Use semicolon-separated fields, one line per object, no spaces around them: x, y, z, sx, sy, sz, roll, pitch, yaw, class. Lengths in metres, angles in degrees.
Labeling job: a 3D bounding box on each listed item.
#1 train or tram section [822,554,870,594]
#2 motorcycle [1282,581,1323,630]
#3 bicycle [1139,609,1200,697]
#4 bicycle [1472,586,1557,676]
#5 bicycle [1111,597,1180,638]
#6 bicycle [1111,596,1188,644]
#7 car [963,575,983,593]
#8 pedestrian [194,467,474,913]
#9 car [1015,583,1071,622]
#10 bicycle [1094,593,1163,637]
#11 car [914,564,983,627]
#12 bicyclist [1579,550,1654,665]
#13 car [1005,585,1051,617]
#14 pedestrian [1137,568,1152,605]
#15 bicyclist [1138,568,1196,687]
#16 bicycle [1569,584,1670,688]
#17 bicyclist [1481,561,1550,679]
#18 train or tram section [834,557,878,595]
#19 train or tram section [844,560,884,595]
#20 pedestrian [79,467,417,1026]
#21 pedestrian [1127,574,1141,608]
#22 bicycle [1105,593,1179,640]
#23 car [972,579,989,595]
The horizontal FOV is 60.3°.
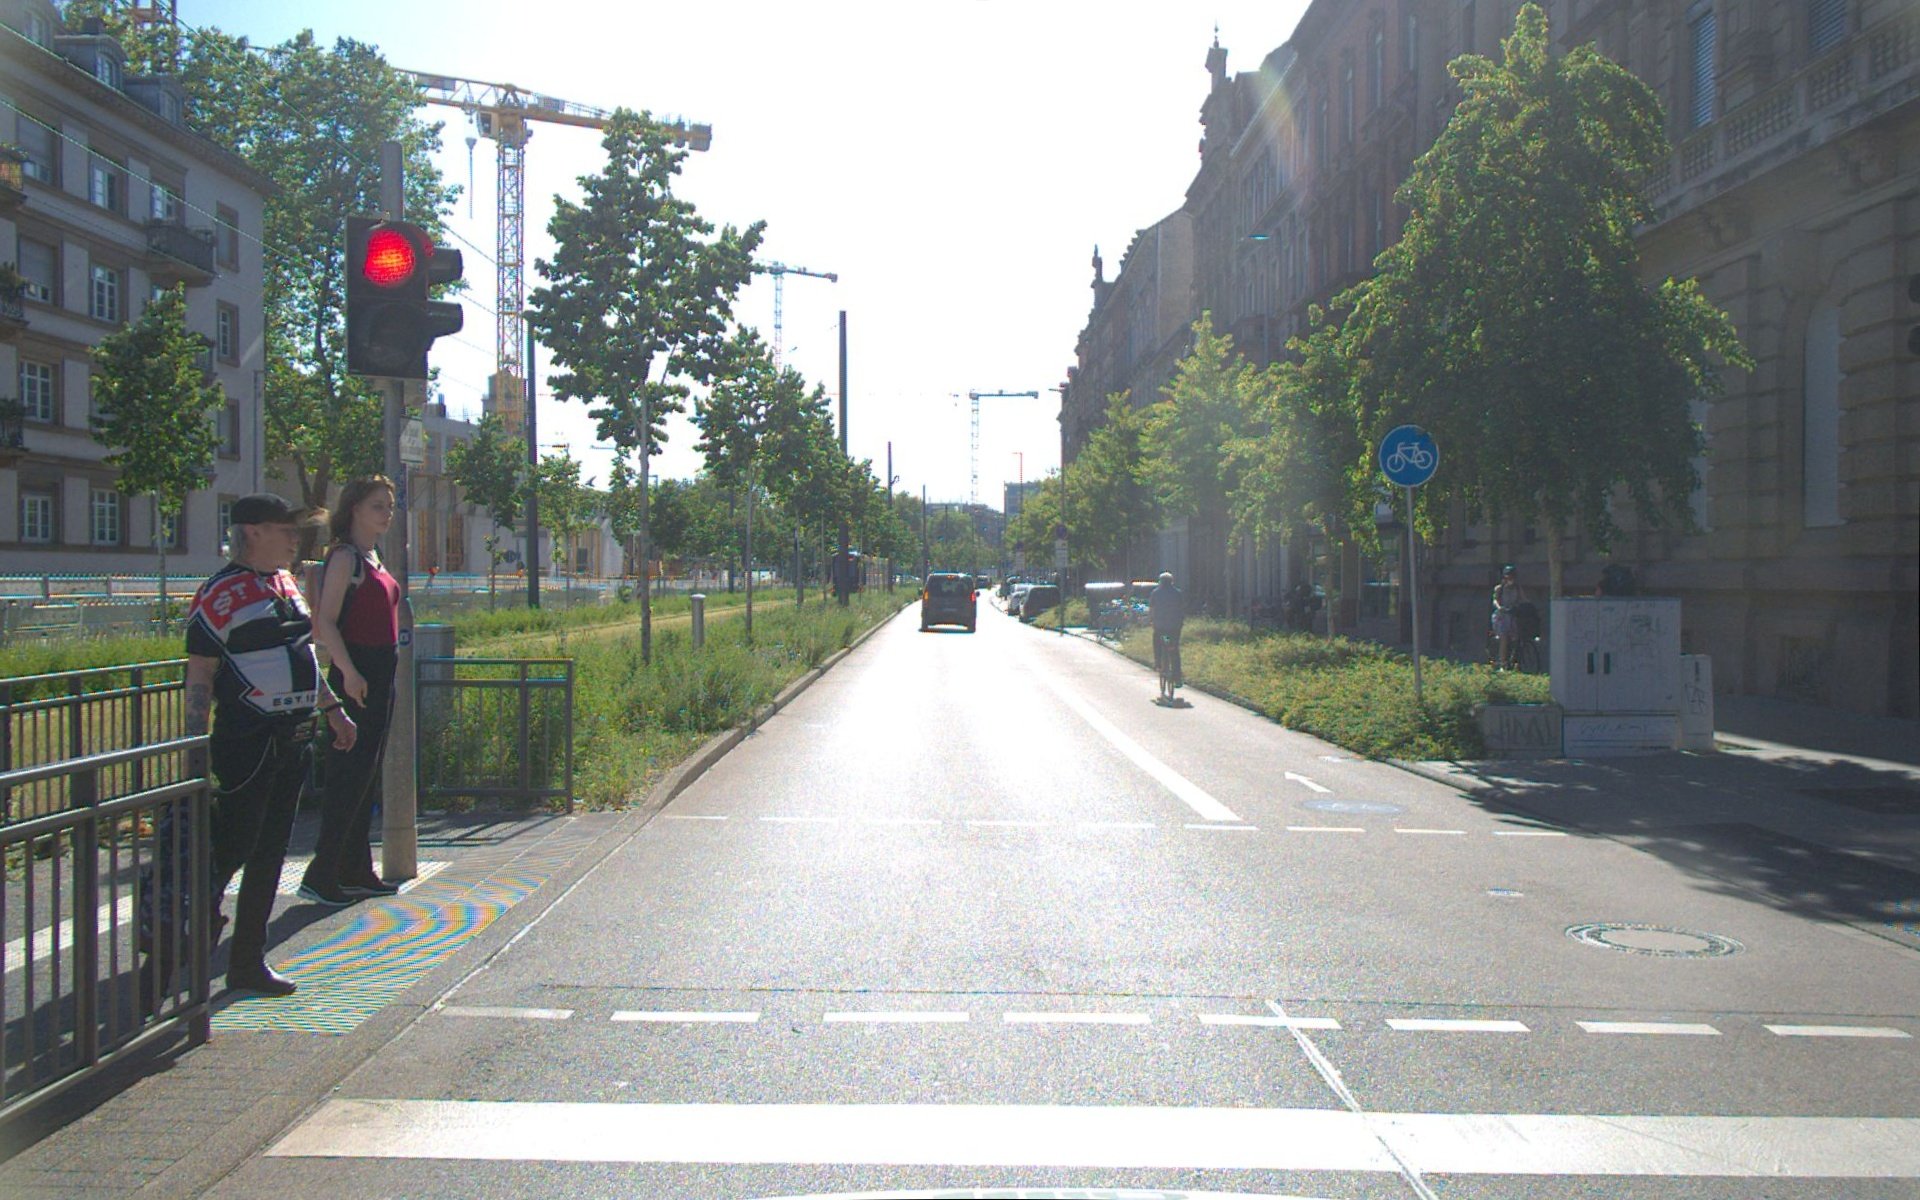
-8.301;-1.853;121.936;2.699;2.790;9.864;1;0;1;train or tram section
9.396;0.136;45.456;0.686;1.289;1.982;0;1;-1;motorcycle
3.072;0.754;24.393;0.589;1.201;1.869;2;1;-1;bicycle
8.015;0.422;23.990;0.571;1.244;1.900;0;1;-1;bicycle
4.912;0.464;43.750;1.756;1.048;0.527;0;1;-1;bicycle
4.675;0.487;40.841;1.756;1.048;0.527;-4;1;-1;bicycle
1.372;-1.650;173.212;1.953;1.759;3.999;1;0;-1;car
-2.840;0.385;7.594;1.055;1.942;0.652;0;0;-7;pedestrian
3.407;0.070;68.577;1.987;1.525;4.653;0;1;-1;car
4.609;0.413;45.201;1.756;1.048;0.527;-4;1;-1;bicycle
-0.397;-0.160;53.953;2.155;1.960;4.653;0;1;-1;car
9.266;0.100;23.364;0.647;1.556;0.801;-4;1;0;bicyclist
3.288;0.037;80.976;1.987;1.525;4.529;0;1;-1;car
8.364;-0.618;74.900;0.601;1.640;0.669;0;1;-1;pedestrian
3.063;0.394;24.555;0.670;1.702;0.922;2;0;-2;bicyclist
9.312;0.476;23.428;0.603;1.353;1.900;-4;1;1;bicycle
8.026;0.276;23.925;0.653;1.668;0.960;0;1;-2;bicyclist
-8.233;-1.855;131.783;2.699;2.790;9.864;1;0;1;train or tram section
-8.151;-1.856;141.644;2.699;2.790;9.864;1;0;1;train or tram section
-2.493;0.475;5.916;0.848;1.819;0.969;1;0;-7;pedestrian
8.558;-0.458;81.514;0.601;1.640;0.669;0;1;-1;pedestrian
4.644;0.414;42.214;1.756;1.048;0.527;-4;1;-1;bicycle
2.564;-1.560;203.942;1.953;1.870;3.999;1;0;-1;car
